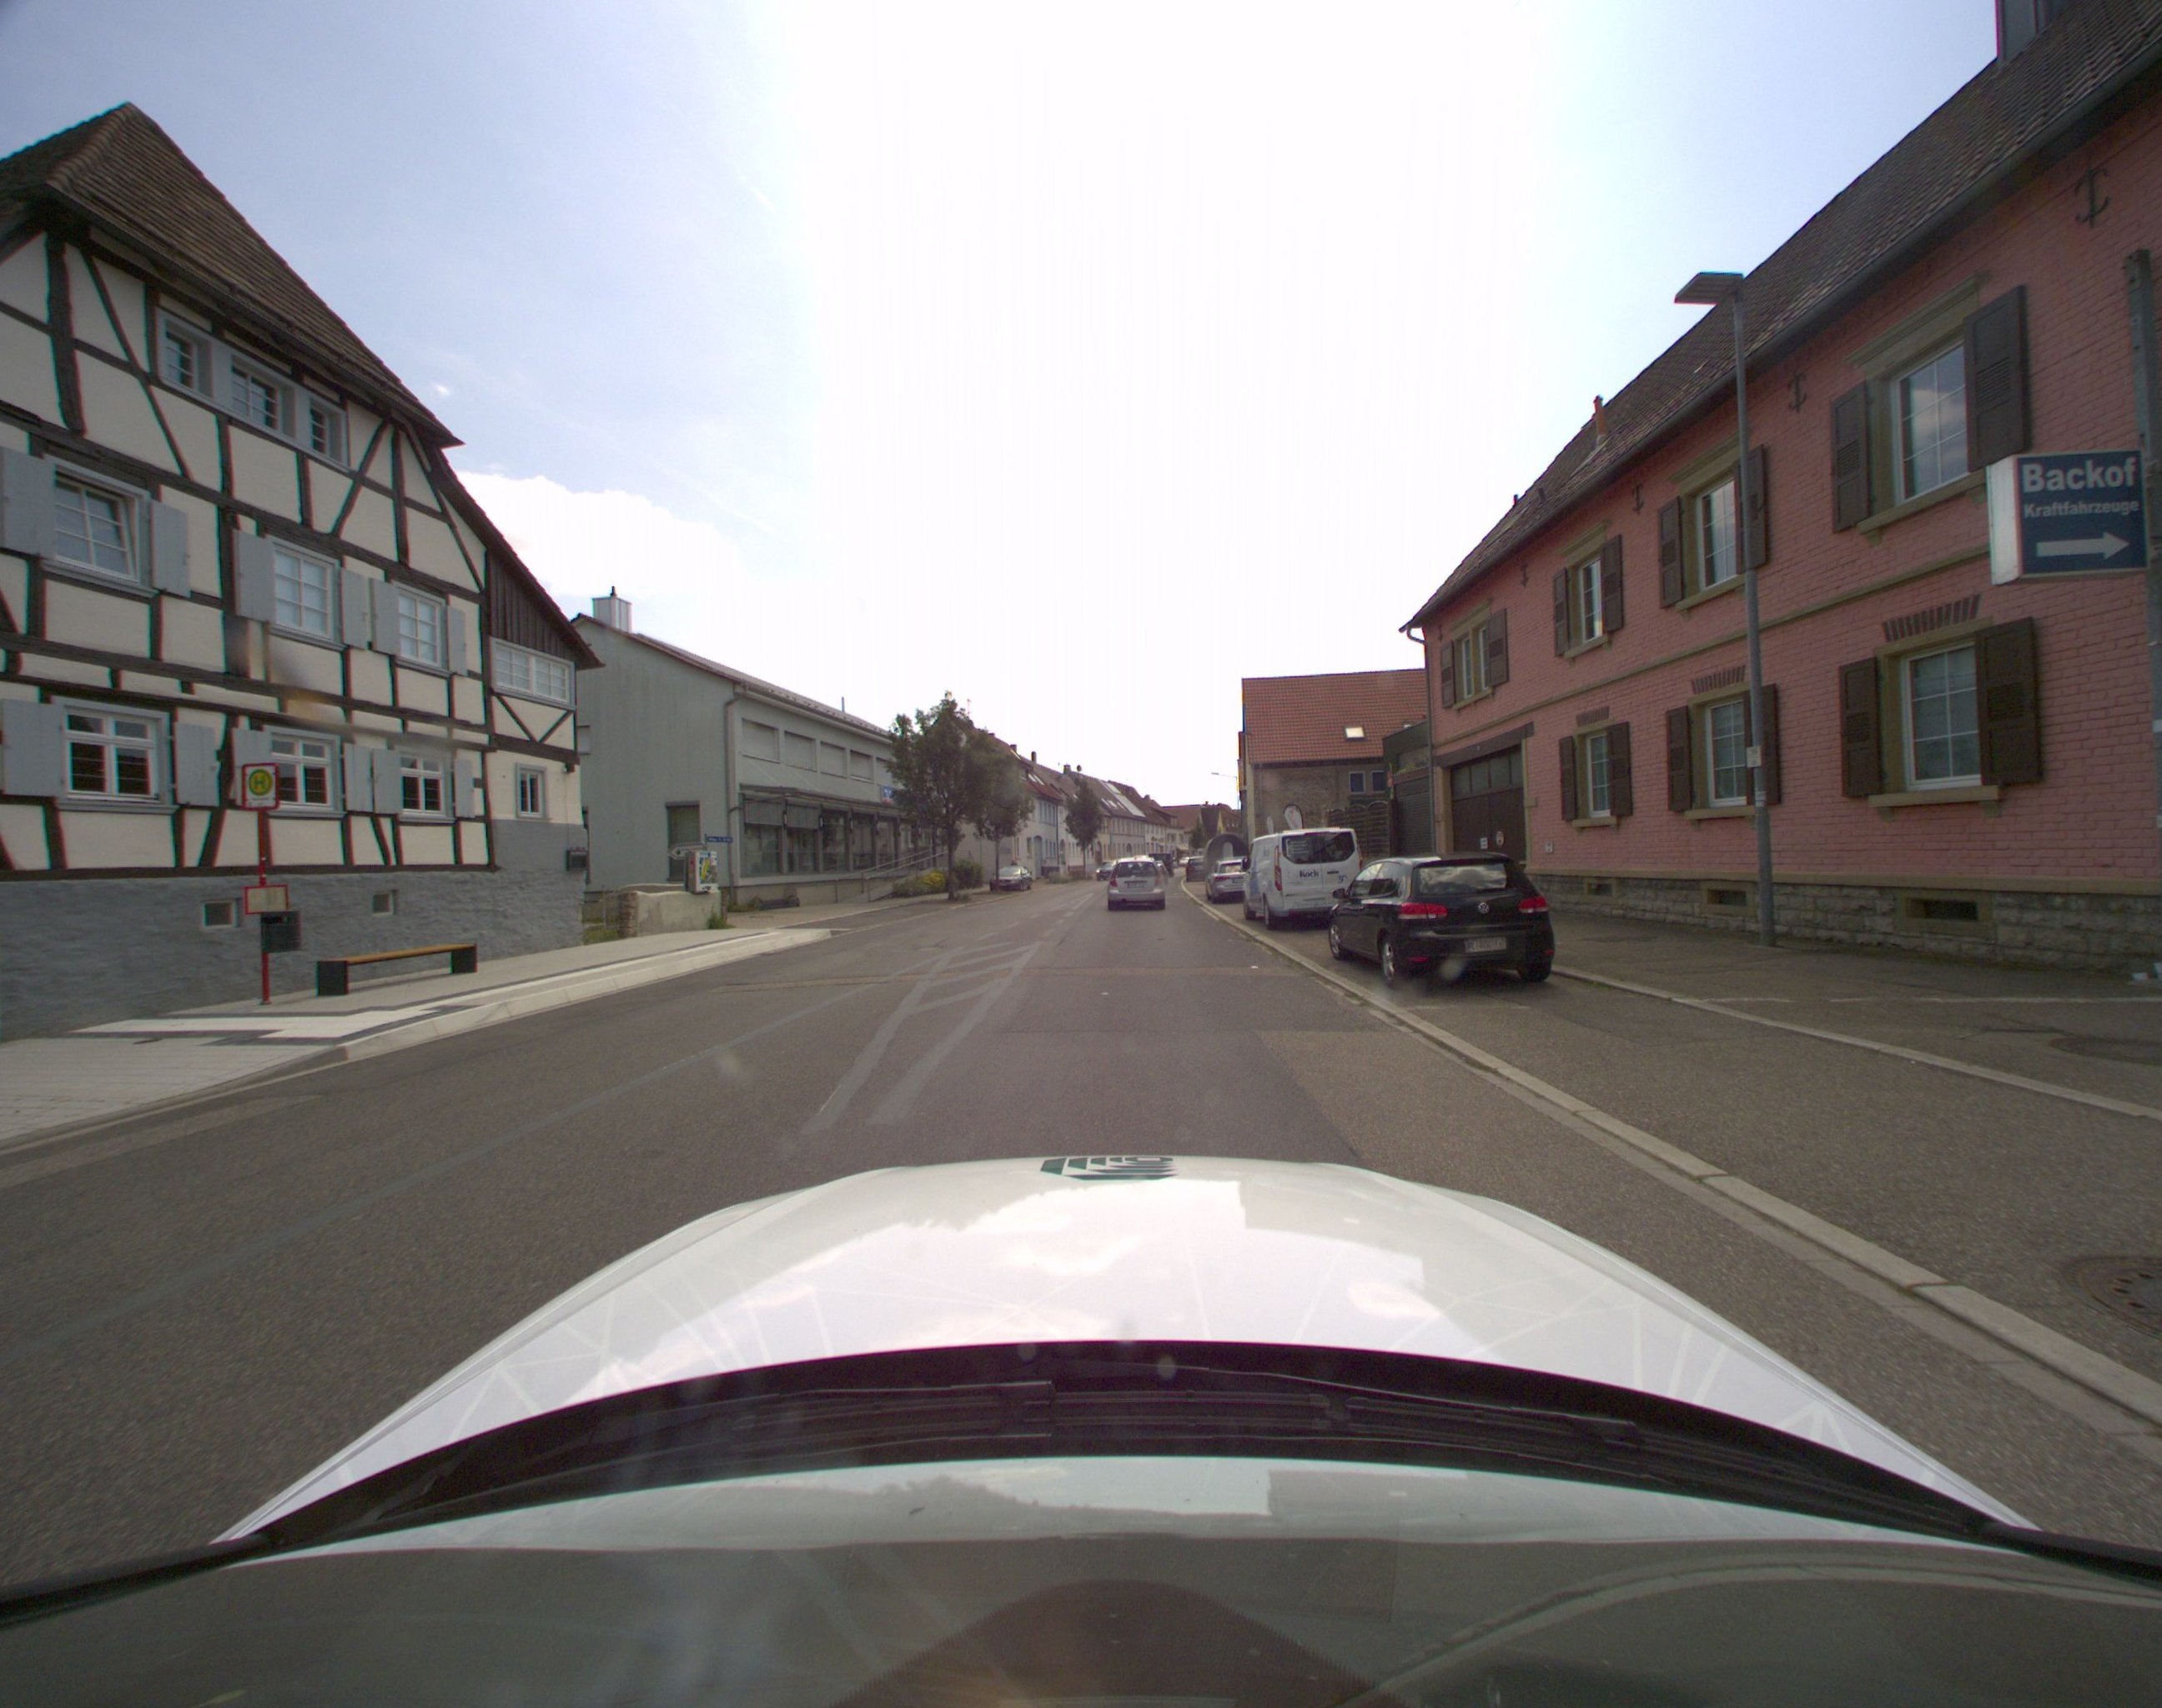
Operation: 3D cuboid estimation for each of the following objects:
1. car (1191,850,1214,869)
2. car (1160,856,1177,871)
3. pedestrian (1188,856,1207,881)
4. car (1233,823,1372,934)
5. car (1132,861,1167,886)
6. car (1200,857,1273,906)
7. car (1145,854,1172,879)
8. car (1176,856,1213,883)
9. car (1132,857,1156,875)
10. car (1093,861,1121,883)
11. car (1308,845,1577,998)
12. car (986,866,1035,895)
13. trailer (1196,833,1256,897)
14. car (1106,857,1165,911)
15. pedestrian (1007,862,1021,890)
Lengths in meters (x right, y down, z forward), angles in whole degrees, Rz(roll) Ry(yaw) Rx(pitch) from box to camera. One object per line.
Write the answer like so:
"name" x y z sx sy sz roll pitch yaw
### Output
"car" 15.475 0.687 103.594 2.220 2.222 4.015 -4 -2 14
"car" 12.298 1.312 114.490 1.981 2.014 4.011 -4 -2 10
"pedestrian" 8.716 1.087 60.937 1.086 1.821 1.476 -3 -1 17
"car" 4.710 0.492 18.112 1.884 1.982 4.935 -5 -1 4
"car" 4.064 1.150 48.066 1.935 1.407 4.006 0 -1 6
"car" 5.232 0.878 27.998 1.867 1.481 4.679 -2 -1 4
"car" 6.305 1.012 65.843 1.757 1.888 4.460 0 -1 11
"car" 7.281 0.957 51.952 1.981 1.559 4.012 -4 -1 11
"car" 7.472 1.407 96.699 2.076 1.884 4.015 -3 -1 14
"car" 2.095 1.375 64.454 1.734 1.527 4.027 -4 -1 7
"car" 4.302 0.717 10.475 1.767 1.495 4.165 -3 -1 4
"car" -3.960 1.469 46.359 1.794 1.460 4.168 -2 -1 9
"trailer" 5.815 0.436 33.000 1.837 2.354 3.592 -3 -1 3
"car" 1.748 0.913 26.143 1.761 1.595 4.004 0 -1 4
"pedestrian" -4.448 1.470 54.094 0.735 1.801 0.643 -4 -2 5
